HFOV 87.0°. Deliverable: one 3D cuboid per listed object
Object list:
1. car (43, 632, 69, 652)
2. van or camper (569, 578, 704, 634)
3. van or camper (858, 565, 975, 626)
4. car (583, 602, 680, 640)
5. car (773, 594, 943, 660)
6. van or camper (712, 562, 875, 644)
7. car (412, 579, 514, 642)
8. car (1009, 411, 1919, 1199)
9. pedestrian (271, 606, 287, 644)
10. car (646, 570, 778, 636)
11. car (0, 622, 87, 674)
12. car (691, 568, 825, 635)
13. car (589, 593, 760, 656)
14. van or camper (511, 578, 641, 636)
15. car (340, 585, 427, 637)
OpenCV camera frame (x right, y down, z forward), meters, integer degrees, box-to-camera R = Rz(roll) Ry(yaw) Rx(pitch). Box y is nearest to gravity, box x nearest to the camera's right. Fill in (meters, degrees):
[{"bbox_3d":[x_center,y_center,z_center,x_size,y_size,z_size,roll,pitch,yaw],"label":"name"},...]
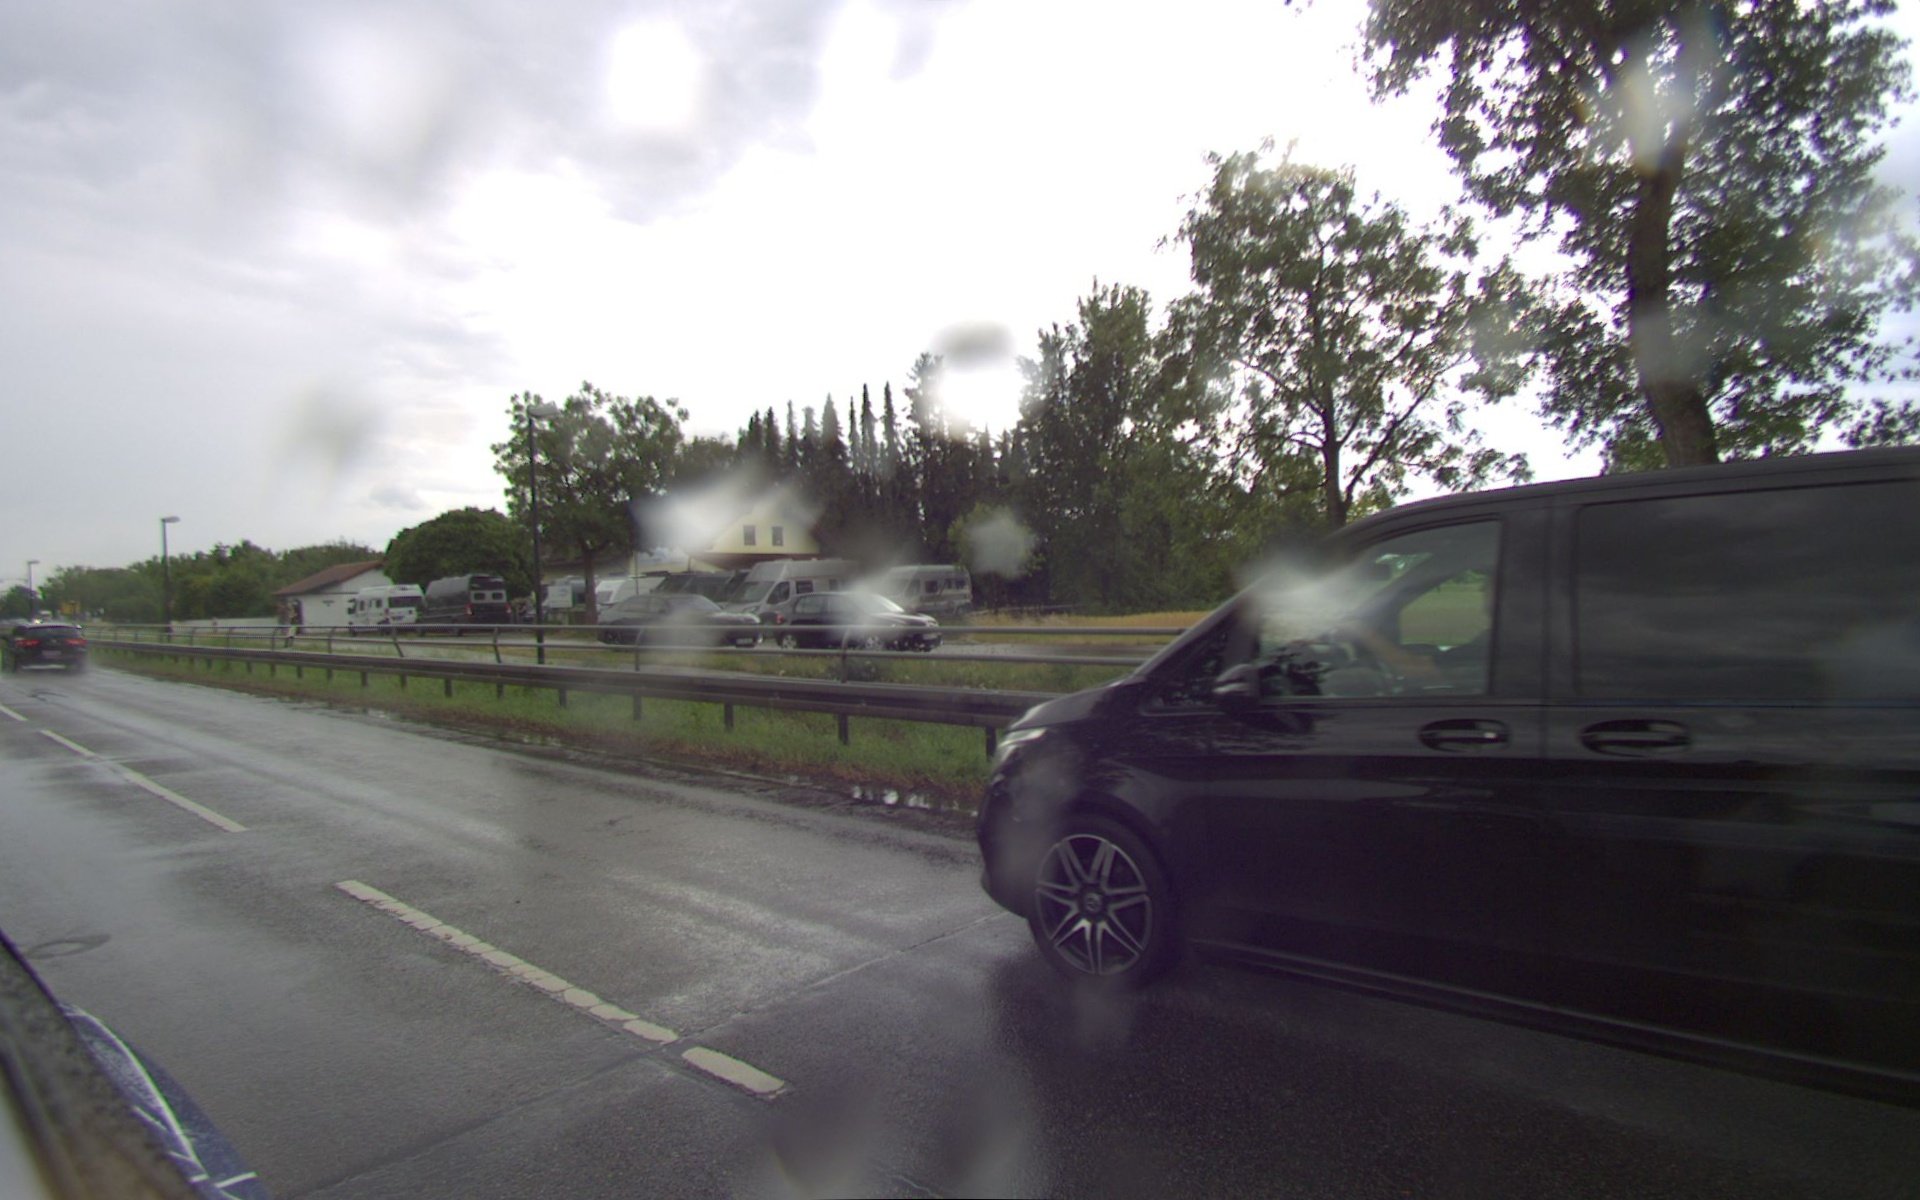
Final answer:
[{"bbox_3d":[-100.885,4.674,112.959,3.998,2.029,1.661,-1,-1,41],"label":"car"},{"bbox_3d":[-16.458,0.241,51.805,2.560,2.611,6.161,-2,0,40],"label":"van or camper"},{"bbox_3d":[-1.865,-0.256,45.936,1.997,2.609,5.749,-2,0,38],"label":"van or camper"},{"bbox_3d":[-14.687,0.921,45.392,1.539,1.507,3.844,-2,0,41],"label":"car"},{"bbox_3d":[-2.303,0.598,22.251,3.892,1.341,1.271,-2,-2,37],"label":"car"},{"bbox_3d":[-5.875,0.042,36.516,2.080,2.697,5.816,-2,0,40],"label":"van or camper"},{"bbox_3d":[-23.747,0.527,48.250,5.571,2.783,2.358,-2,0,42],"label":"car"},{"bbox_3d":[2.446,0.497,3.233,4.412,1.816,1.809,-2,-2,41],"label":"car"},{"bbox_3d":[-31.403,1.159,46.689,0.509,1.723,0.651,-2,0,-40],"label":"pedestrian"},{"bbox_3d":[-10.238,0.083,42.108,1.998,2.520,5.132,-2,0,39],"label":"car"},{"bbox_3d":[-27.897,1.418,30.630,4.109,1.462,1.696,-2,-1,41],"label":"car"},{"bbox_3d":[-7.912,0.015,40.115,1.998,2.477,5.043,-2,0,39],"label":"car"},{"bbox_3d":[-7.469,0.646,26.187,5.113,1.502,1.501,-2,-2,37],"label":"car"},{"bbox_3d":[-20.270,0.309,53.646,2.432,2.822,5.992,-2,0,40],"label":"van or camper"},{"bbox_3d":[-30.933,0.604,54.194,6.017,2.600,2.214,-2,0,42],"label":"car"}]
